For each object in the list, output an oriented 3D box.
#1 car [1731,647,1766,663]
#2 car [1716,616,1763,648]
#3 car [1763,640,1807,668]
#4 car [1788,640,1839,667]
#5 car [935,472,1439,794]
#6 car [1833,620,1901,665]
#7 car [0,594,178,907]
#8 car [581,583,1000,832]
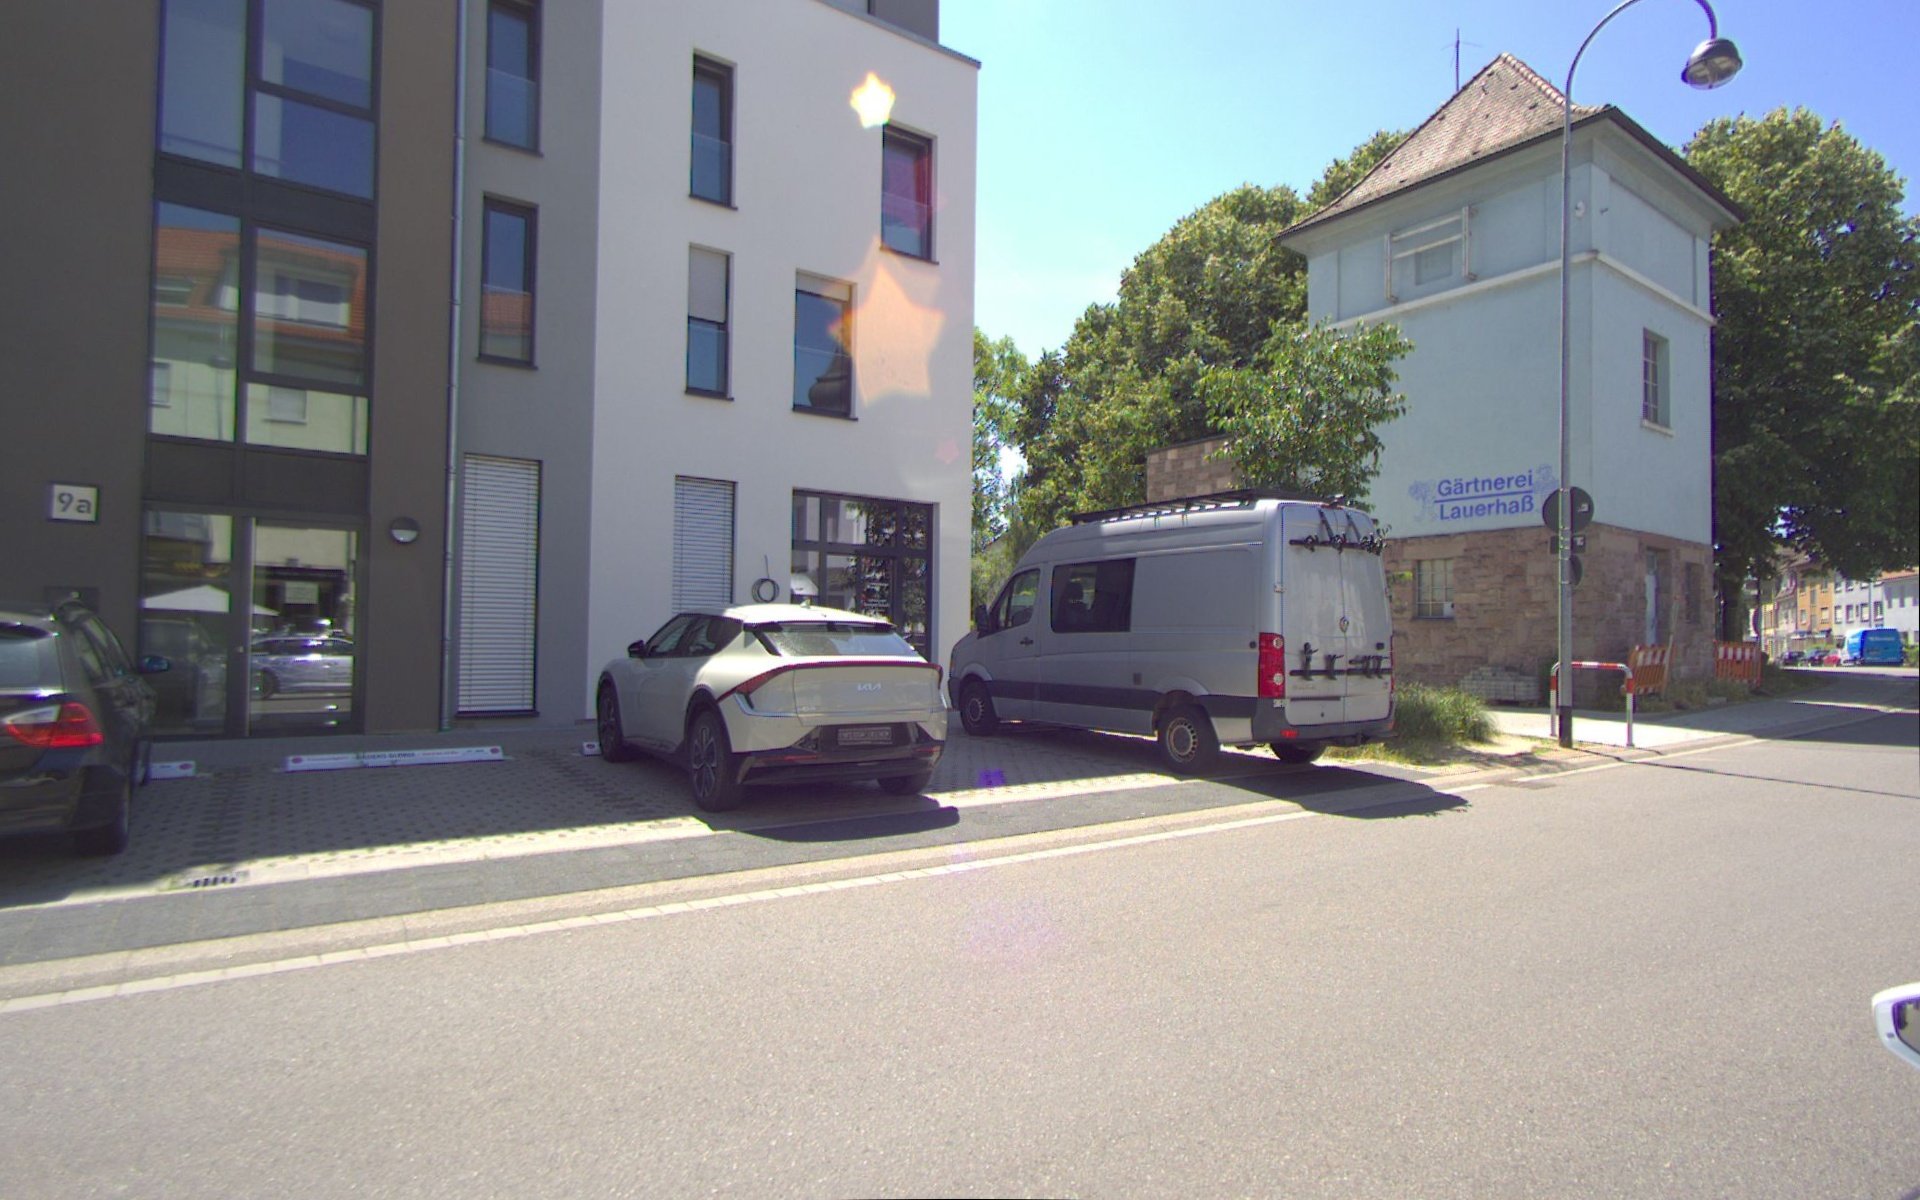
[{"bbox_3d":[75.797,5.293,96.565,1.964,1.410,4.322,0,-1,29],"label":"car"},{"bbox_3d":[61.782,2.504,79.693,2.211,2.374,4.844,1,-1,30],"label":"car"},{"bbox_3d":[64.509,4.212,78.591,1.964,2.040,3.993,0,-1,29],"label":"car"},{"bbox_3d":[60.404,3.806,71.164,1.964,1.768,4.323,0,-4,29],"label":"car"},{"bbox_3d":[2.200,0.313,11.681,2.267,2.768,5.733,2,-1,-33],"label":"car"},{"bbox_3d":[55.042,2.585,61.038,2.102,2.574,4.641,0,-3,30],"label":"car"},{"bbox_3d":[-6.036,0.698,6.197,1.869,1.456,4.167,2,-1,-38],"label":"car"},{"bbox_3d":[-1.764,0.724,8.908,1.980,1.612,4.425,2,-1,-34],"label":"car"}]
